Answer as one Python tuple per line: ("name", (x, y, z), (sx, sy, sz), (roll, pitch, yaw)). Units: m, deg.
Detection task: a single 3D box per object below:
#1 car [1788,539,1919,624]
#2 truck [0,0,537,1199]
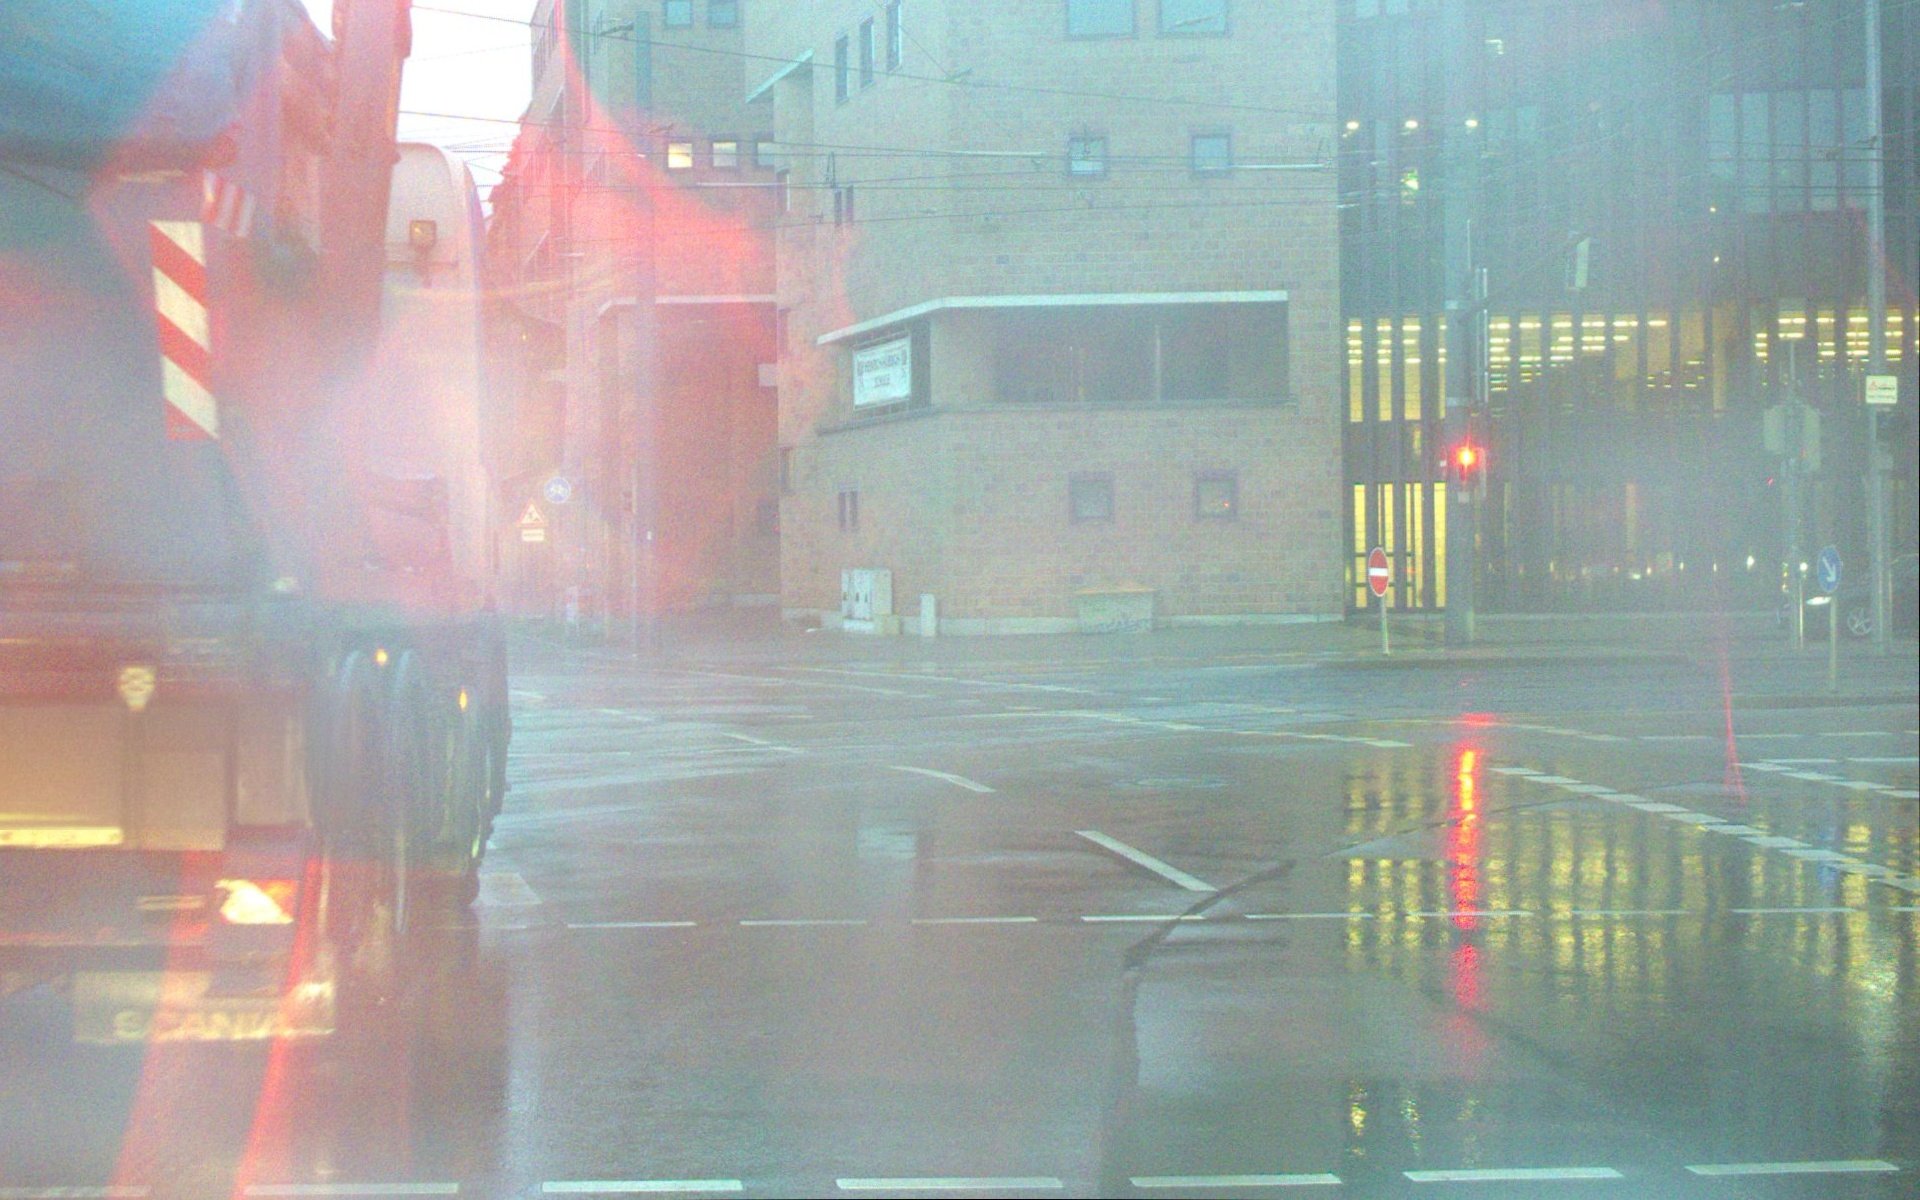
("car", (15.696, -0.329, 55.743), (3.986, 1.305, 2.000), (-1, 1, -4))
("truck", (-3.217, -0.379, 12.150), (2.839, 3.621, 7.528), (-1, 1, -3))
